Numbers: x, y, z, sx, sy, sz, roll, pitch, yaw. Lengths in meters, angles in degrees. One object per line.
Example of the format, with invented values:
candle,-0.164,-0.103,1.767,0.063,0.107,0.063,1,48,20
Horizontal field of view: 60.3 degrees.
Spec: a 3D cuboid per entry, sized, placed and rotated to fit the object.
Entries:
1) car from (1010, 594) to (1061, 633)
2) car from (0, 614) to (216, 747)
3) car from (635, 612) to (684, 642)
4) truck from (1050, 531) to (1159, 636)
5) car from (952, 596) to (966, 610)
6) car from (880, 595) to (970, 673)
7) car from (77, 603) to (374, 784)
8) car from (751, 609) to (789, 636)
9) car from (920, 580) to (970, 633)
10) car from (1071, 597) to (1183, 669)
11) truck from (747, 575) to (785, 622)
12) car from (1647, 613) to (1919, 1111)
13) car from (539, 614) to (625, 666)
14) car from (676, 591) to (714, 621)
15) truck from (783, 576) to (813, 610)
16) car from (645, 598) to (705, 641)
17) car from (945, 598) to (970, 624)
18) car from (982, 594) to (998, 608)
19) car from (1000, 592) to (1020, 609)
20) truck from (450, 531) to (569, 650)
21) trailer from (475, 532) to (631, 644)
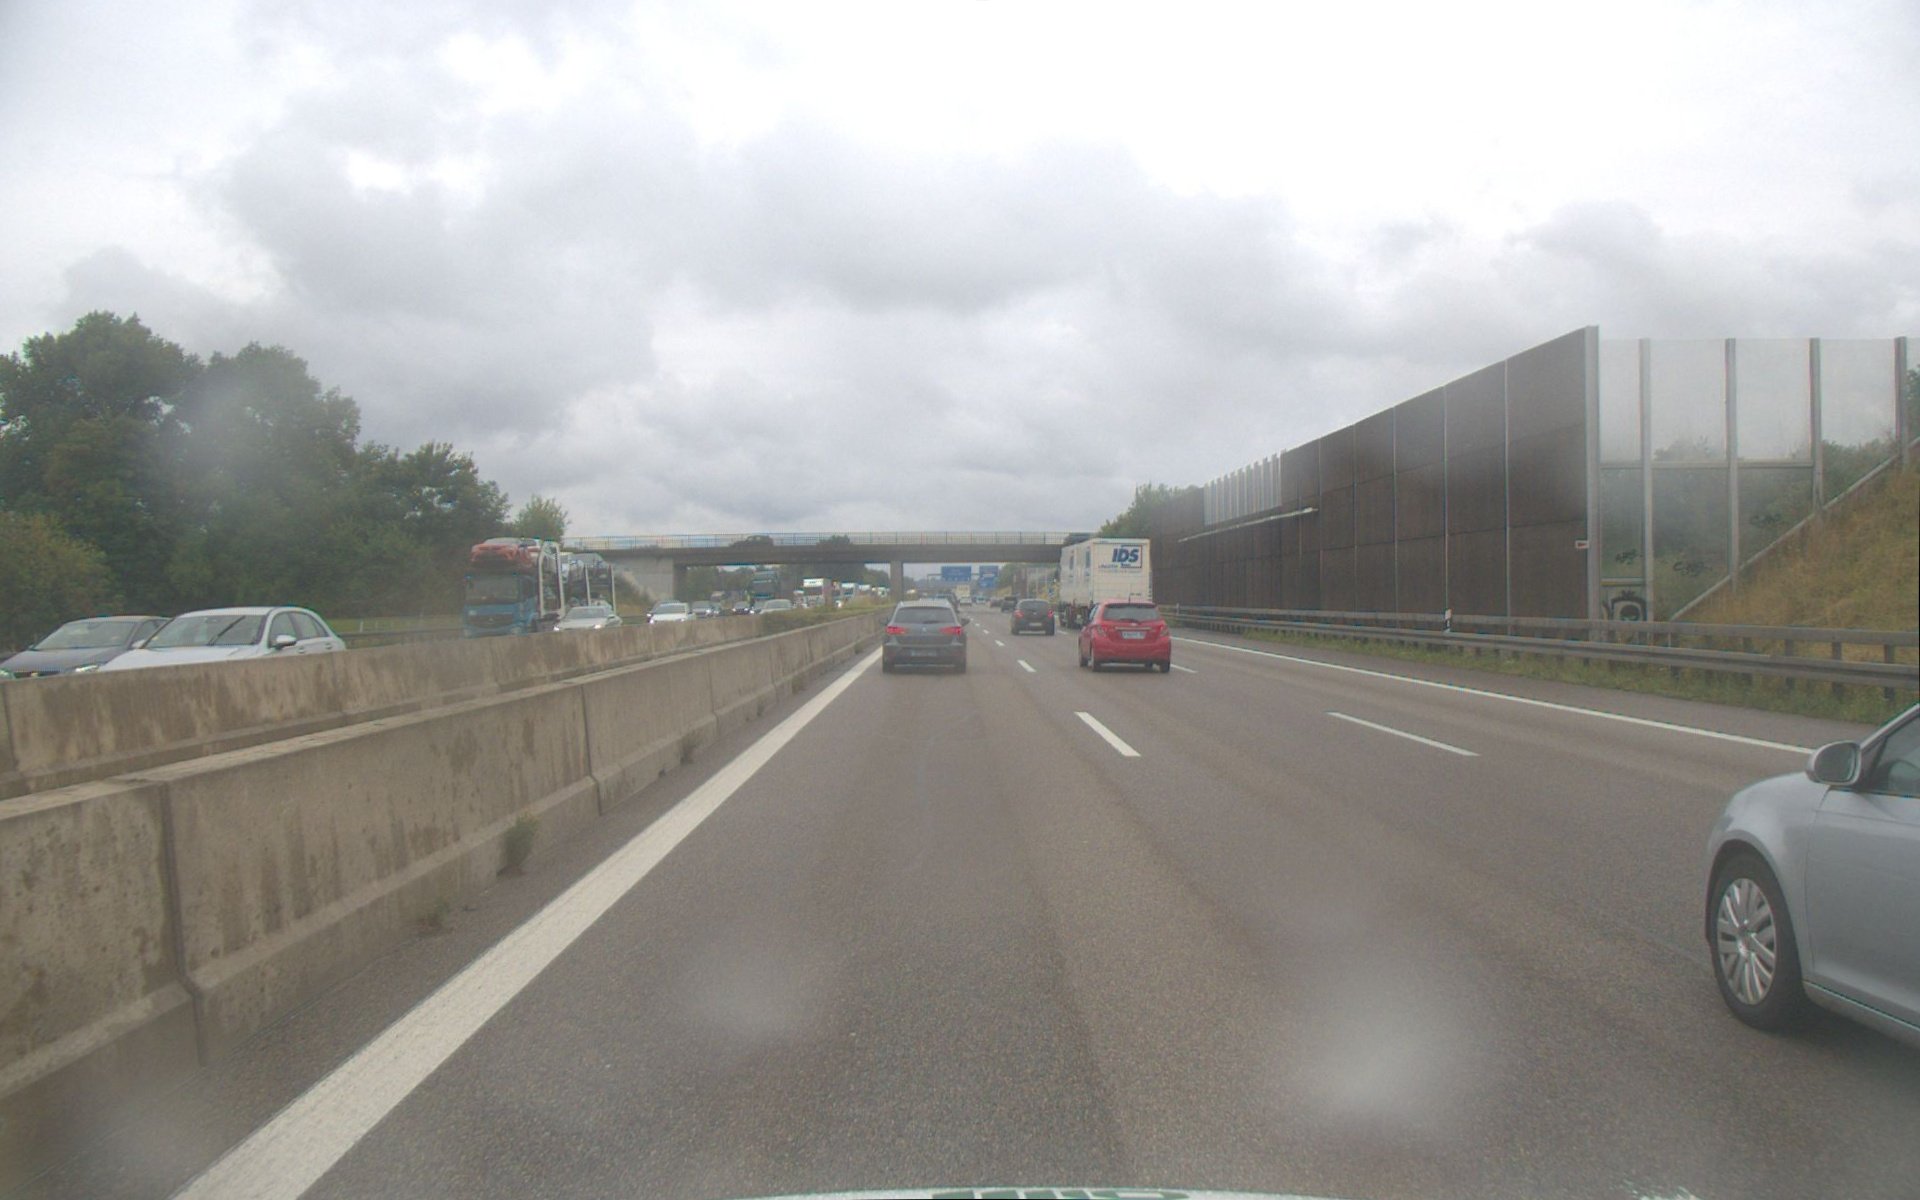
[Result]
car,3.118,0.529,68.975,1.882,1.548,4.621,0,0,-1
car,-13.248,1.116,24.849,2.019,1.740,4.799,0,0,-1
car,-18.103,1.610,99.846,2.050,1.740,4.962,0,0,0
truck,6.639,-0.645,79.461,3.217,4.370,19.028,1,0,-1
car,-0.162,0.402,248.304,1.953,2.049,4.241,1,0,-1
car,-0.720,0.668,34.213,1.732,1.493,3.999,1,0,-1
car,-8.925,1.043,20.528,1.845,1.958,4.172,-1,0,-1
car,-13.336,1.562,116.261,2.050,1.740,4.800,0,0,0
car,-0.564,0.231,62.521,1.788,1.882,3.999,-1,0,-1
car,3.562,0.669,36.075,1.853,1.472,4.683,0,0,-2
truck,-17.634,-0.095,150.897,2.701,4.121,6.254,1,0,-1
car,3.702,0.785,4.532,1.706,1.450,4.516,0,0,-1
car,-13.635,1.395,59.964,2.051,1.740,5.164,0,0,-2
car,-18.520,0.414,115.808,1.953,2.049,4.000,-2,0,-1
truck,-20.250,-0.896,207.405,3.206,4.116,5.292,1,0,0
car,-13.284,0.906,77.419,1.953,1.912,5.031,1,0,-1
car,-0.192,0.796,121.703,1.670,1.828,3.853,-2,0,-2
car,4.062,0.078,224.156,1.953,1.843,4.227,-2,0,0
car,5.129,0.085,169.401,1.808,1.716,3.999,1,0,-2
truck,-17.334,-0.336,64.051,2.897,4.316,6.233,1,0,-1
trailer,-17.419,-0.412,72.374,2.937,4.316,15.705,1,0,0
